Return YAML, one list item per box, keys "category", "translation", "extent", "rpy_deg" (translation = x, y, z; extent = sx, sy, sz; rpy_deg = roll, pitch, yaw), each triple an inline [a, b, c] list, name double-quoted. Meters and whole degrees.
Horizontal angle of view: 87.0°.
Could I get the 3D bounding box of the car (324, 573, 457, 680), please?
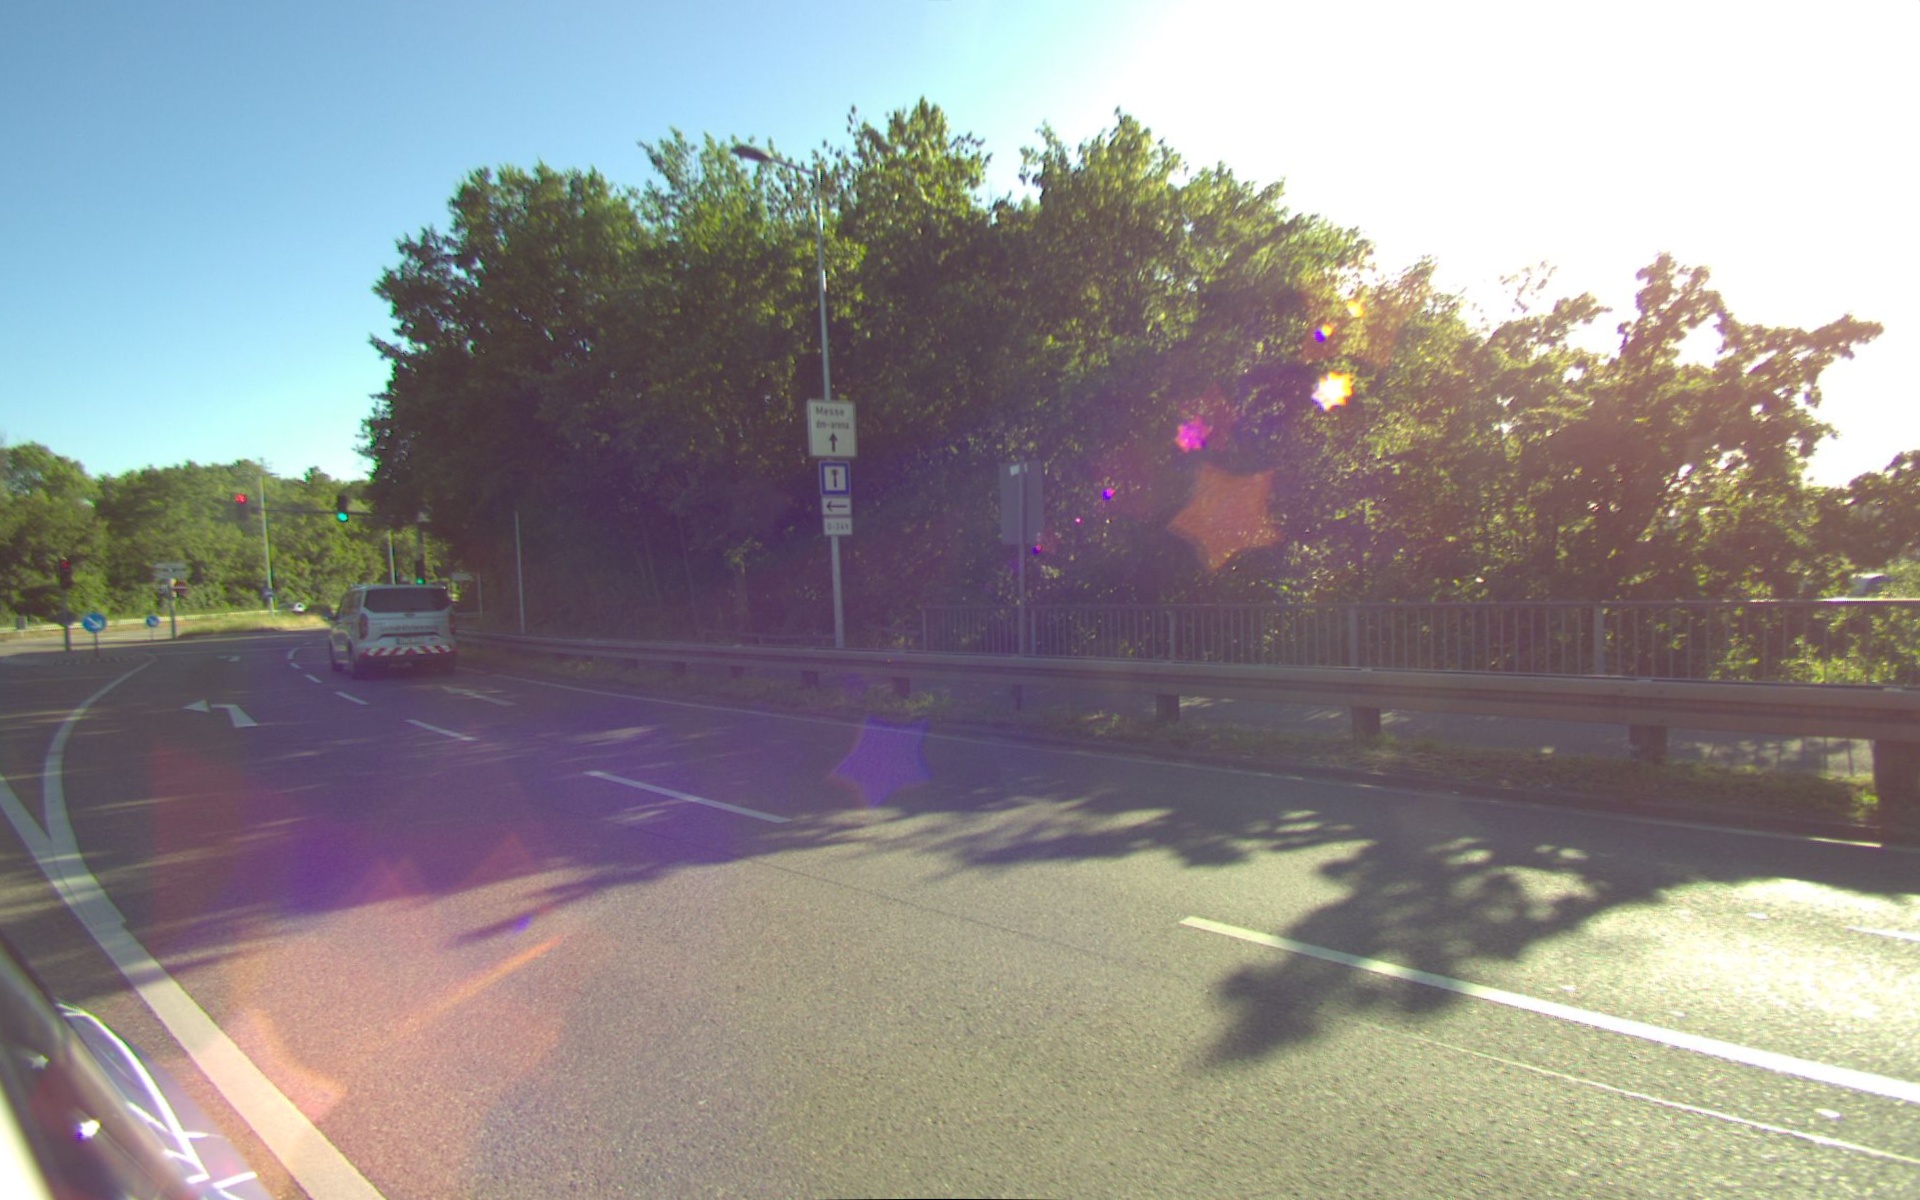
- category: "car"
  translation: [-12.971, 0.551, 22.879]
  extent: [1.923, 2.128, 5.282]
  rpy_deg: [0, 0, -37]
